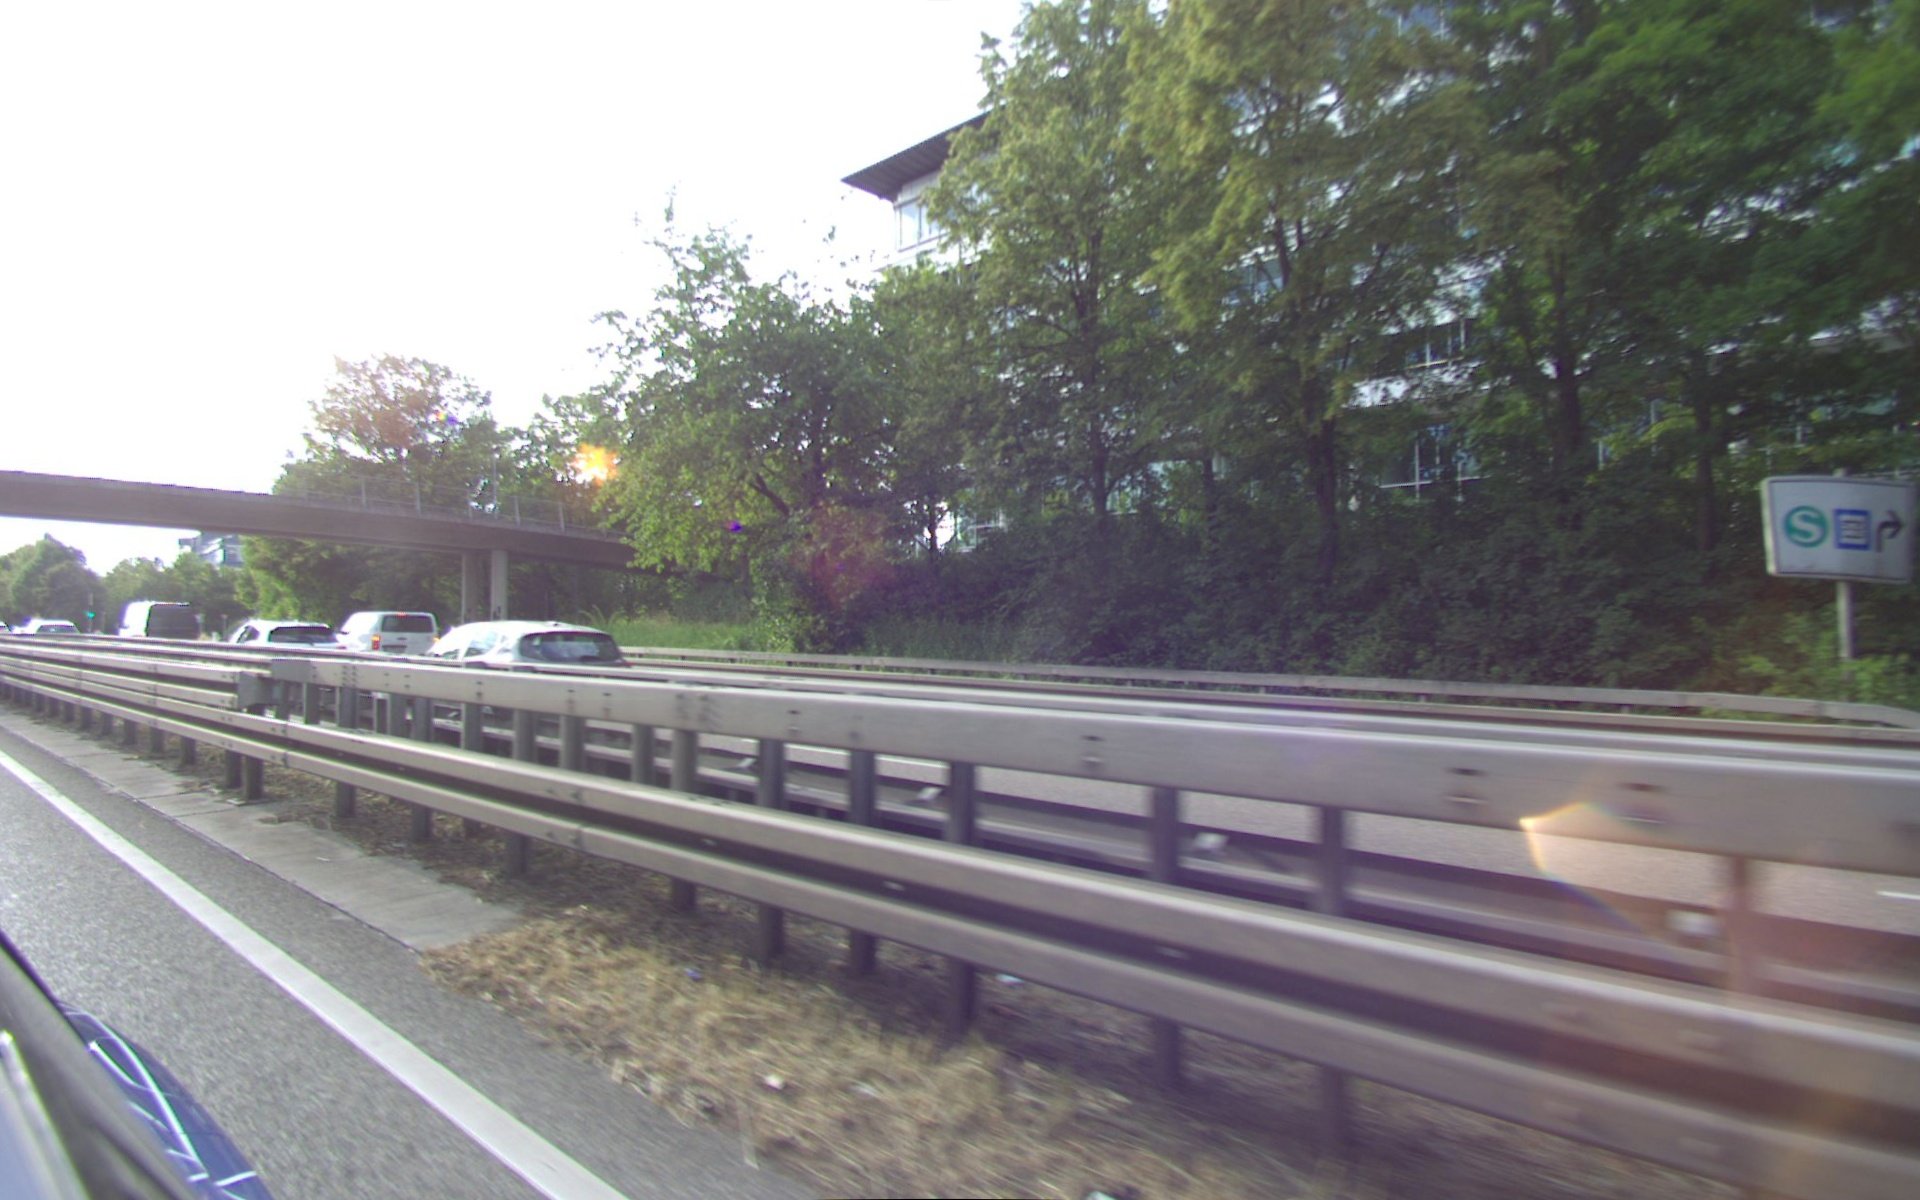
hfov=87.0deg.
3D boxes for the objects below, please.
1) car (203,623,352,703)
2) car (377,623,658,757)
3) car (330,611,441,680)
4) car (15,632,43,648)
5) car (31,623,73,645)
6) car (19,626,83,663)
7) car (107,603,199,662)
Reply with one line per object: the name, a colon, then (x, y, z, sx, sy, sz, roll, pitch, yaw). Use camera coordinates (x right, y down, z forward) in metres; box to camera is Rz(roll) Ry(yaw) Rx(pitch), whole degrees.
car: (-14.037, 1.223, 20.753, 3.644, 1.497, 1.664, -2, -2, 42)
car: (-5.454, 0.975, 12.273, 3.830, 1.362, 1.658, -1, -2, 41)
car: (-17.243, 1.313, 30.272, 1.846, 1.869, 4.627, -1, -1, -43)
car: (-82.164, 3.552, 89.325, 3.307, 1.364, 1.415, -2, -3, 40)
car: (-68.286, 2.563, 76.078, 4.397, 1.548, 1.814, -2, -6, 43)
car: (-39.320, 1.891, 43.758, 3.638, 1.540, 1.589, -2, -2, 41)
car: (-37.692, 1.488, 47.200, 6.938, 2.556, 2.226, -2, -2, 42)
